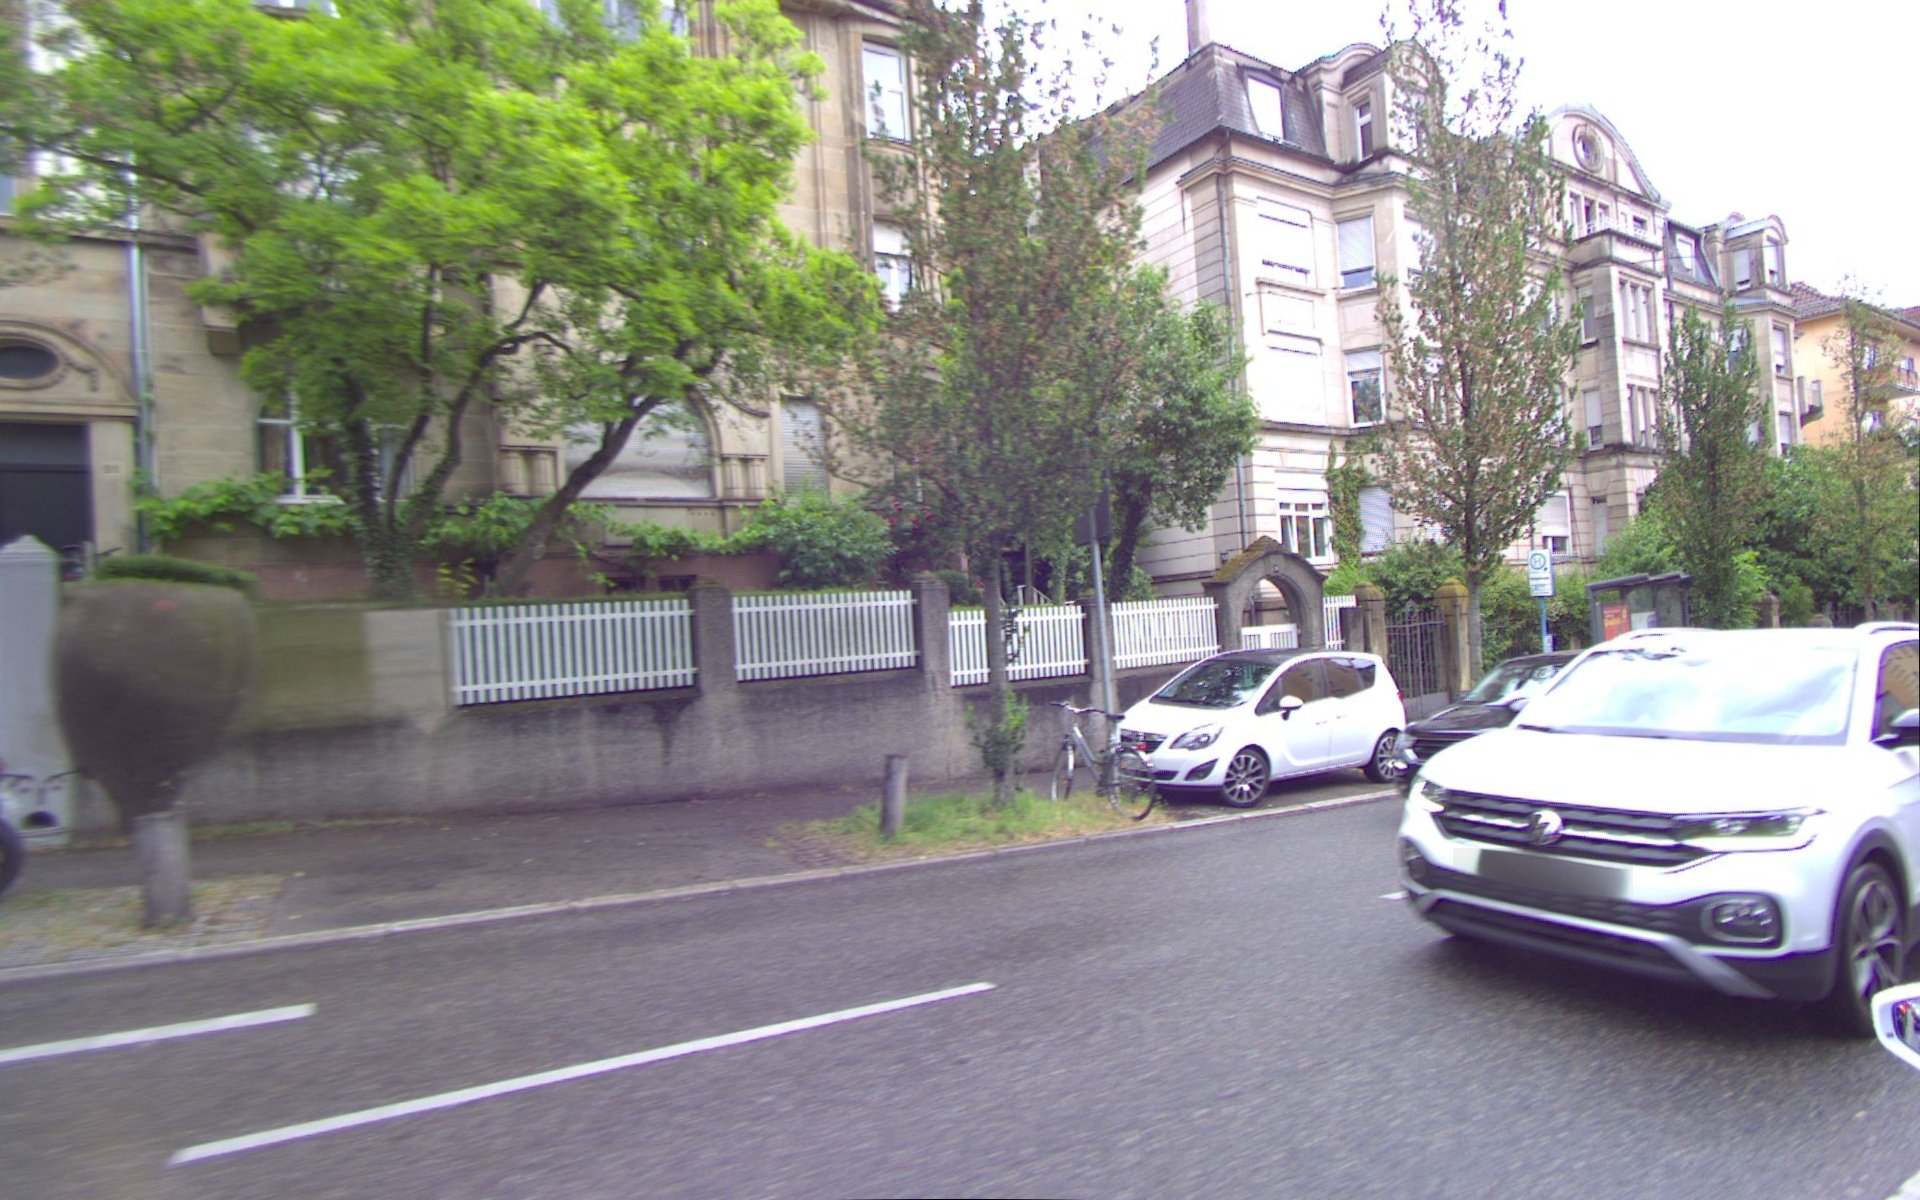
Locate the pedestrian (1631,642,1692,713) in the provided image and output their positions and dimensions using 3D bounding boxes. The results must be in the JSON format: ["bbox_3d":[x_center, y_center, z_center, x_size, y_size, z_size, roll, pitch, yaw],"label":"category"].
[{"bbox_3d":[14.845,1.620,21.258,0.751,1.451,0.762,0,-3,-33],"label":"pedestrian"}]

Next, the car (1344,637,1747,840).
[{"bbox_3d":[5.683,1.208,9.665,3.827,1.536,1.735,0,-6,-33],"label":"car"}]

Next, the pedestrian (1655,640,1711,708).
[{"bbox_3d":[15.892,1.615,22.083,0.642,1.451,0.763,0,-3,-31],"label":"pedestrian"}]

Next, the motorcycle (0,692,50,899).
[{"bbox_3d":[-6.774,1.220,5.953,1.962,1.251,0.651,1,-4,-36],"label":"motorcycle"}]

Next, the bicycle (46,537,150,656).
[{"bbox_3d":[-10.126,0.007,11.859,0.650,1.251,1.964,0,-4,-33],"label":"bicycle"}]

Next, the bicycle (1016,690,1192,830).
[{"bbox_3d":[1.436,1.585,10.401,0.650,1.251,1.964,0,-4,-33],"label":"bicycle"}]

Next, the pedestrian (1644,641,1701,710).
[{"bbox_3d":[15.372,1.623,21.681,0.642,1.451,0.763,0,-3,-31],"label":"pedestrian"}]

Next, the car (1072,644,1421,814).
[{"bbox_3d":[3.496,1.367,11.925,4.259,1.580,1.730,1,-1,-36],"label":"car"}]

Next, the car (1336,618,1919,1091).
[{"bbox_3d":[3.988,0.901,5.165,4.055,1.537,1.762,0,-4,-33],"label":"car"}]

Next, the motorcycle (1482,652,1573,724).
[{"bbox_3d":[10.699,1.634,18.915,1.742,1.253,0.652,0,-3,-30],"label":"motorcycle"}]
